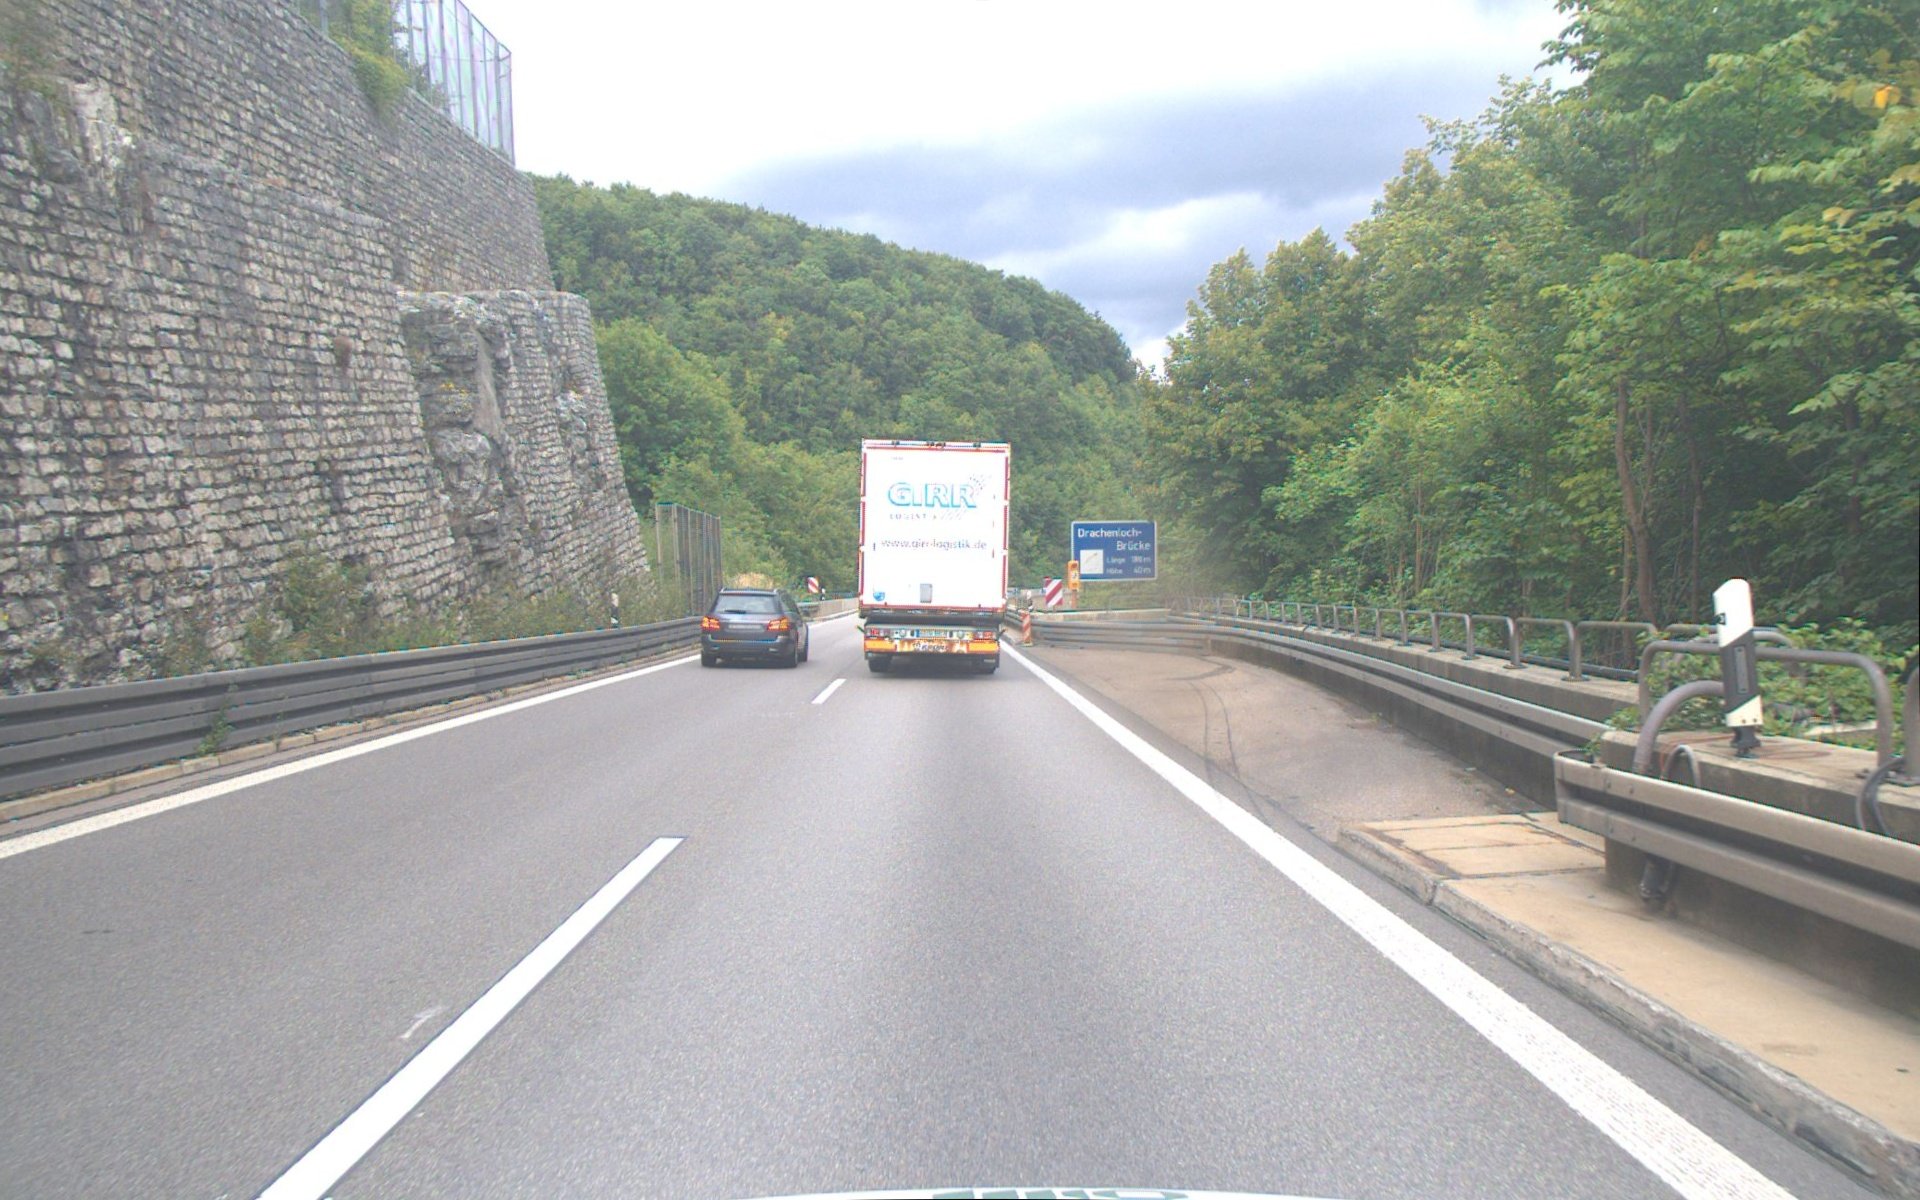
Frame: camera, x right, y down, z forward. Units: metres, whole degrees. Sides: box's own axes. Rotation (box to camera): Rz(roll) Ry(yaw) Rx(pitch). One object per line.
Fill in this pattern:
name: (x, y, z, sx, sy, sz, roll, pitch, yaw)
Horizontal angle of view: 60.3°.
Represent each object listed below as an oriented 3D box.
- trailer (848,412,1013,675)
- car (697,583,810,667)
trailer: (-0.726, -0.918, 33.707, 2.757, 4.378, 12.239, 0, 0, -2)
car: (-3.993, 0.461, 32.622, 1.845, 1.536, 4.416, 0, 0, -2)
